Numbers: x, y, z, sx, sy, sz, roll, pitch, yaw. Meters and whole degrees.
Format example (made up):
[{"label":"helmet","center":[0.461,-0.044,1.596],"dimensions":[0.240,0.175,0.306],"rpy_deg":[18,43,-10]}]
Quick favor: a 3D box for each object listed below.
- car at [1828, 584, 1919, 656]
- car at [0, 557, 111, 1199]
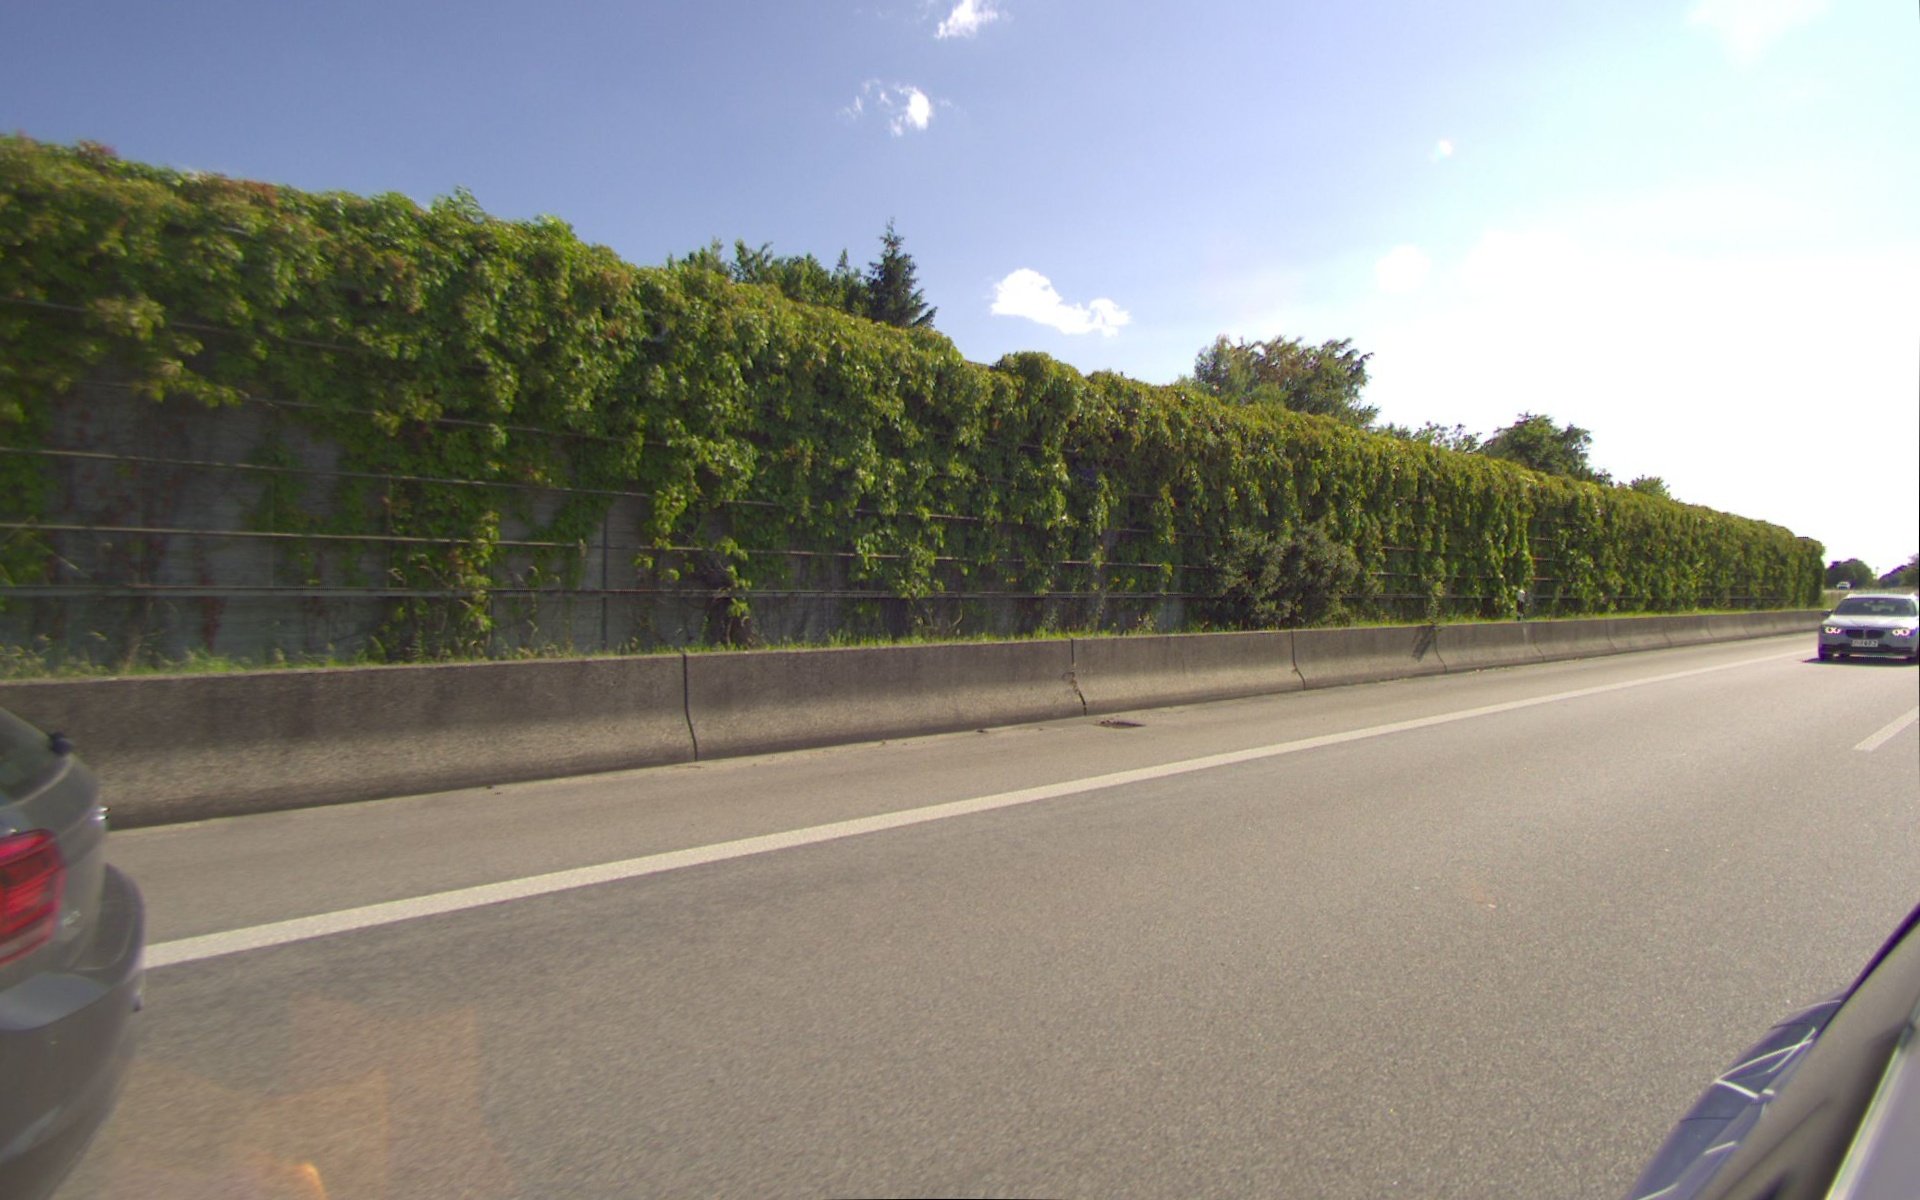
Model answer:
[{"label":"car","center":[21.741,0.446,23.552],"dimensions":[4.900,1.515,1.687],"rpy_deg":[1,0,-42]},{"label":"car","center":[-3.833,0.657,1.088],"dimensions":[4.465,1.472,1.668],"rpy_deg":[0,1,-41]}]
